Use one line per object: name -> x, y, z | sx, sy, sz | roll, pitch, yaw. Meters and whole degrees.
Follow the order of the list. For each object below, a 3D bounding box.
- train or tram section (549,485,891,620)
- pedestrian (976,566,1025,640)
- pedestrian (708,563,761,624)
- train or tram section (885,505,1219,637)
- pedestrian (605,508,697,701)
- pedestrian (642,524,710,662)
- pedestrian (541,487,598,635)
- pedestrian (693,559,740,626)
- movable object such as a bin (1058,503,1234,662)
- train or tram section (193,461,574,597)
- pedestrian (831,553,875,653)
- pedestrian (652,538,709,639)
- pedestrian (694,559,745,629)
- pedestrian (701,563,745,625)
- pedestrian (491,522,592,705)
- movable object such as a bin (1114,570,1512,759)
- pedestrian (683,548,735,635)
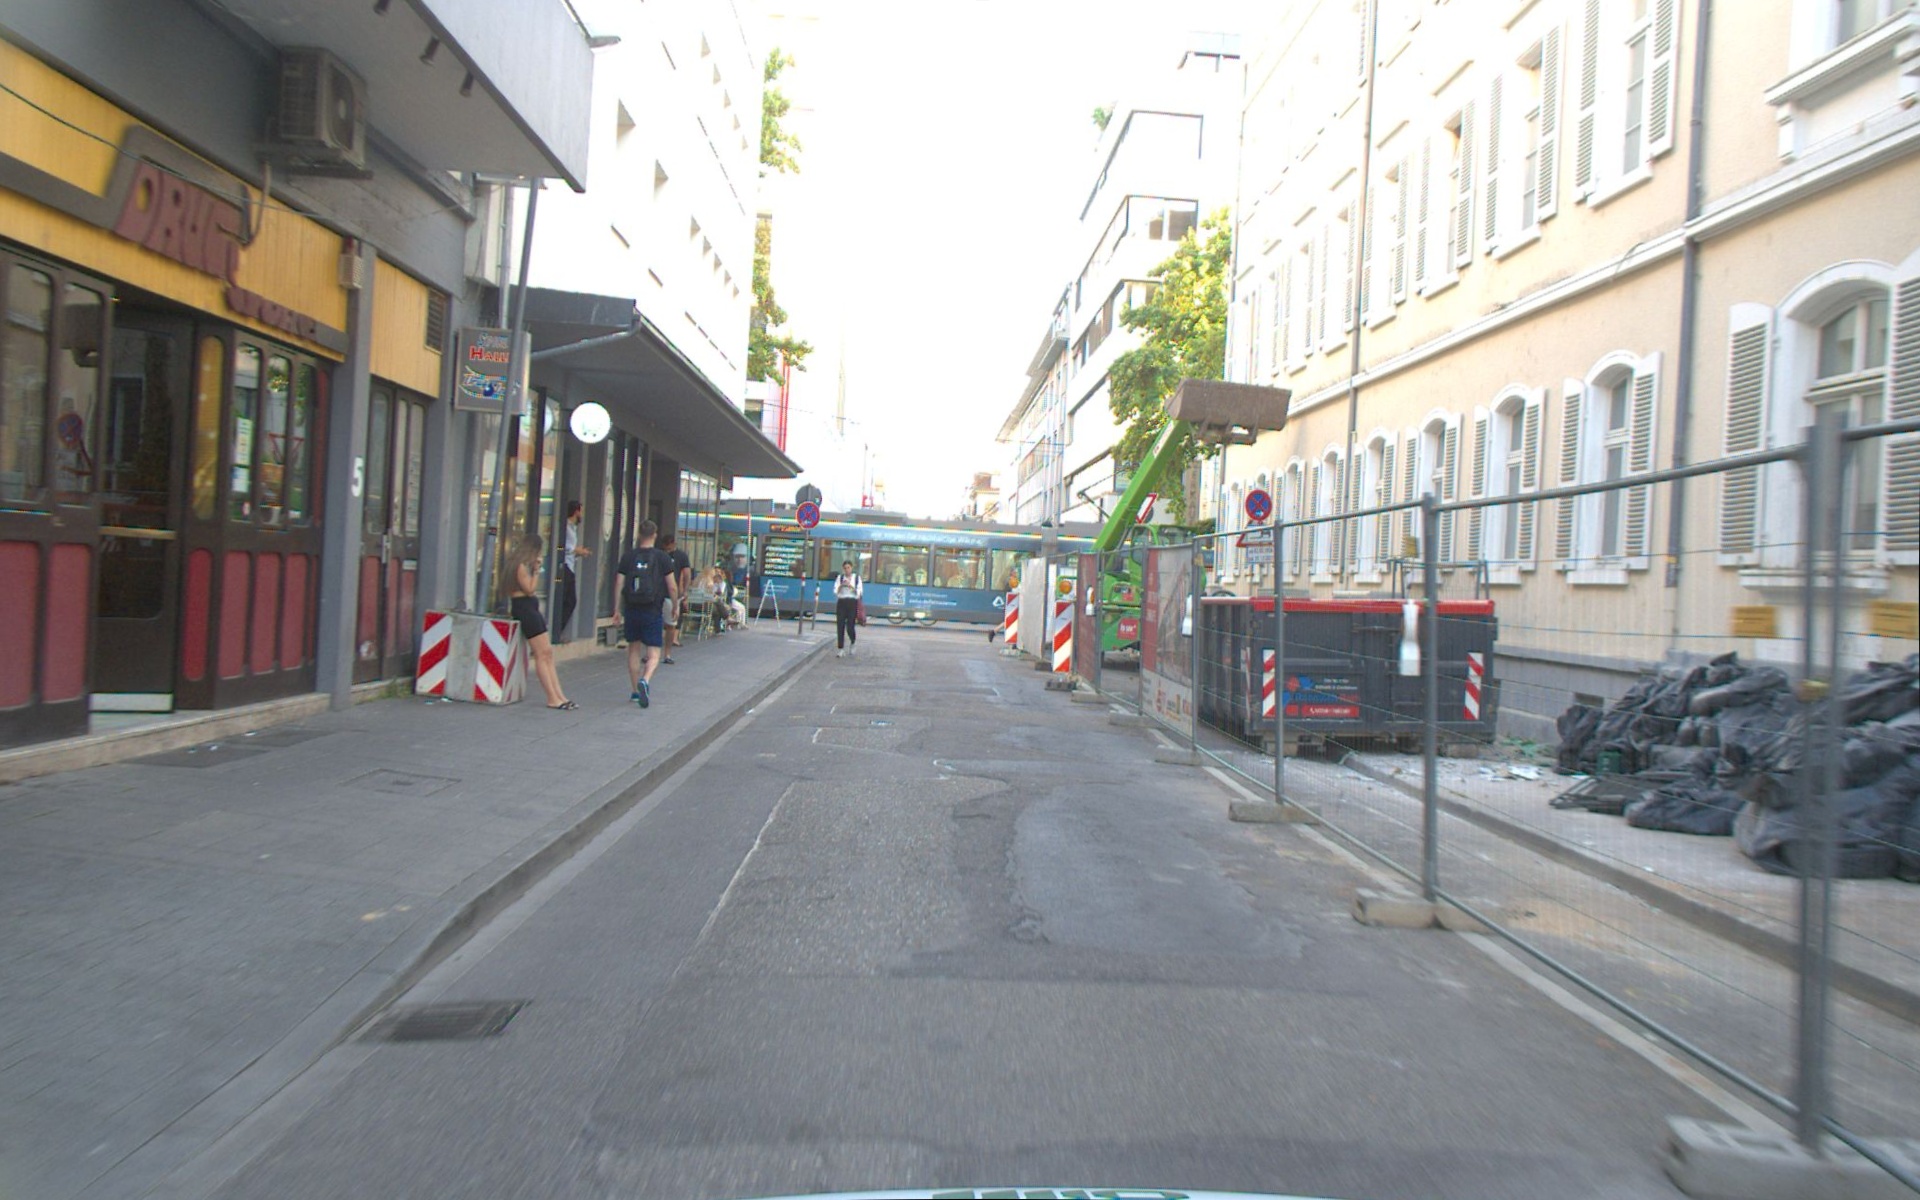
train or tram section -> -7.330, -1.435, 51.703 | 10.160, 3.585, 3.016 | 3, 0, -2
pedestrian -> 0.991, 0.060, 40.756 | 1.118, 1.770, 0.759 | 2, 1, -1
pedestrian -> -4.846, -0.139, 35.576 | 0.692, 1.240, 0.839 | 4, 1, 35
train or tram section -> 2.789, -0.886, 52.130 | 10.129, 3.585, 3.025 | 3, 0, -3
pedestrian -> -3.057, 0.041, 16.441 | 0.700, 1.842, 0.932 | 2, 1, -1
pedestrian -> -3.881, -0.100, 22.669 | 0.690, 1.812, 0.932 | 3, 0, -2
pedestrian -> -4.973, -0.500, 21.088 | 0.533, 1.842, 0.613 | 2, 1, -2
pedestrian -> -4.905, -0.162, 33.410 | 0.690, 1.260, 0.778 | 6, 0, 1
movable object such as a bin -> 3.698, -0.379, 34.179 | 2.583, 2.922, 5.561 | 2, 1, -4
train or tram section -> -17.688, -2.129, 51.315 | 10.592, 3.585, 3.012 | 3, 0, -2
pedestrian -> -1.932, 0.047, 29.964 | 0.741, 1.770, 0.784 | 1, 1, -1
pedestrian -> -4.589, -0.195, 27.133 | 0.649, 1.596, 0.633 | 4, 1, -28
pedestrian -> -4.716, -0.117, 32.362 | 0.695, 1.308, 0.854 | 3, 1, -26
pedestrian -> -4.903, -0.127, 34.276 | 0.690, 1.216, 0.691 | 6, 1, 1
pedestrian -> -3.848, 0.117, 15.242 | 0.695, 1.605, 0.612 | 4, 0, -5
movable object such as a bin -> 3.808, 0.570, 19.844 | 2.833, 1.693, 7.290 | 2, 1, -3
pedestrian -> -4.754, -0.165, 31.310 | 0.689, 1.574, 0.861 | 3, 1, 6
